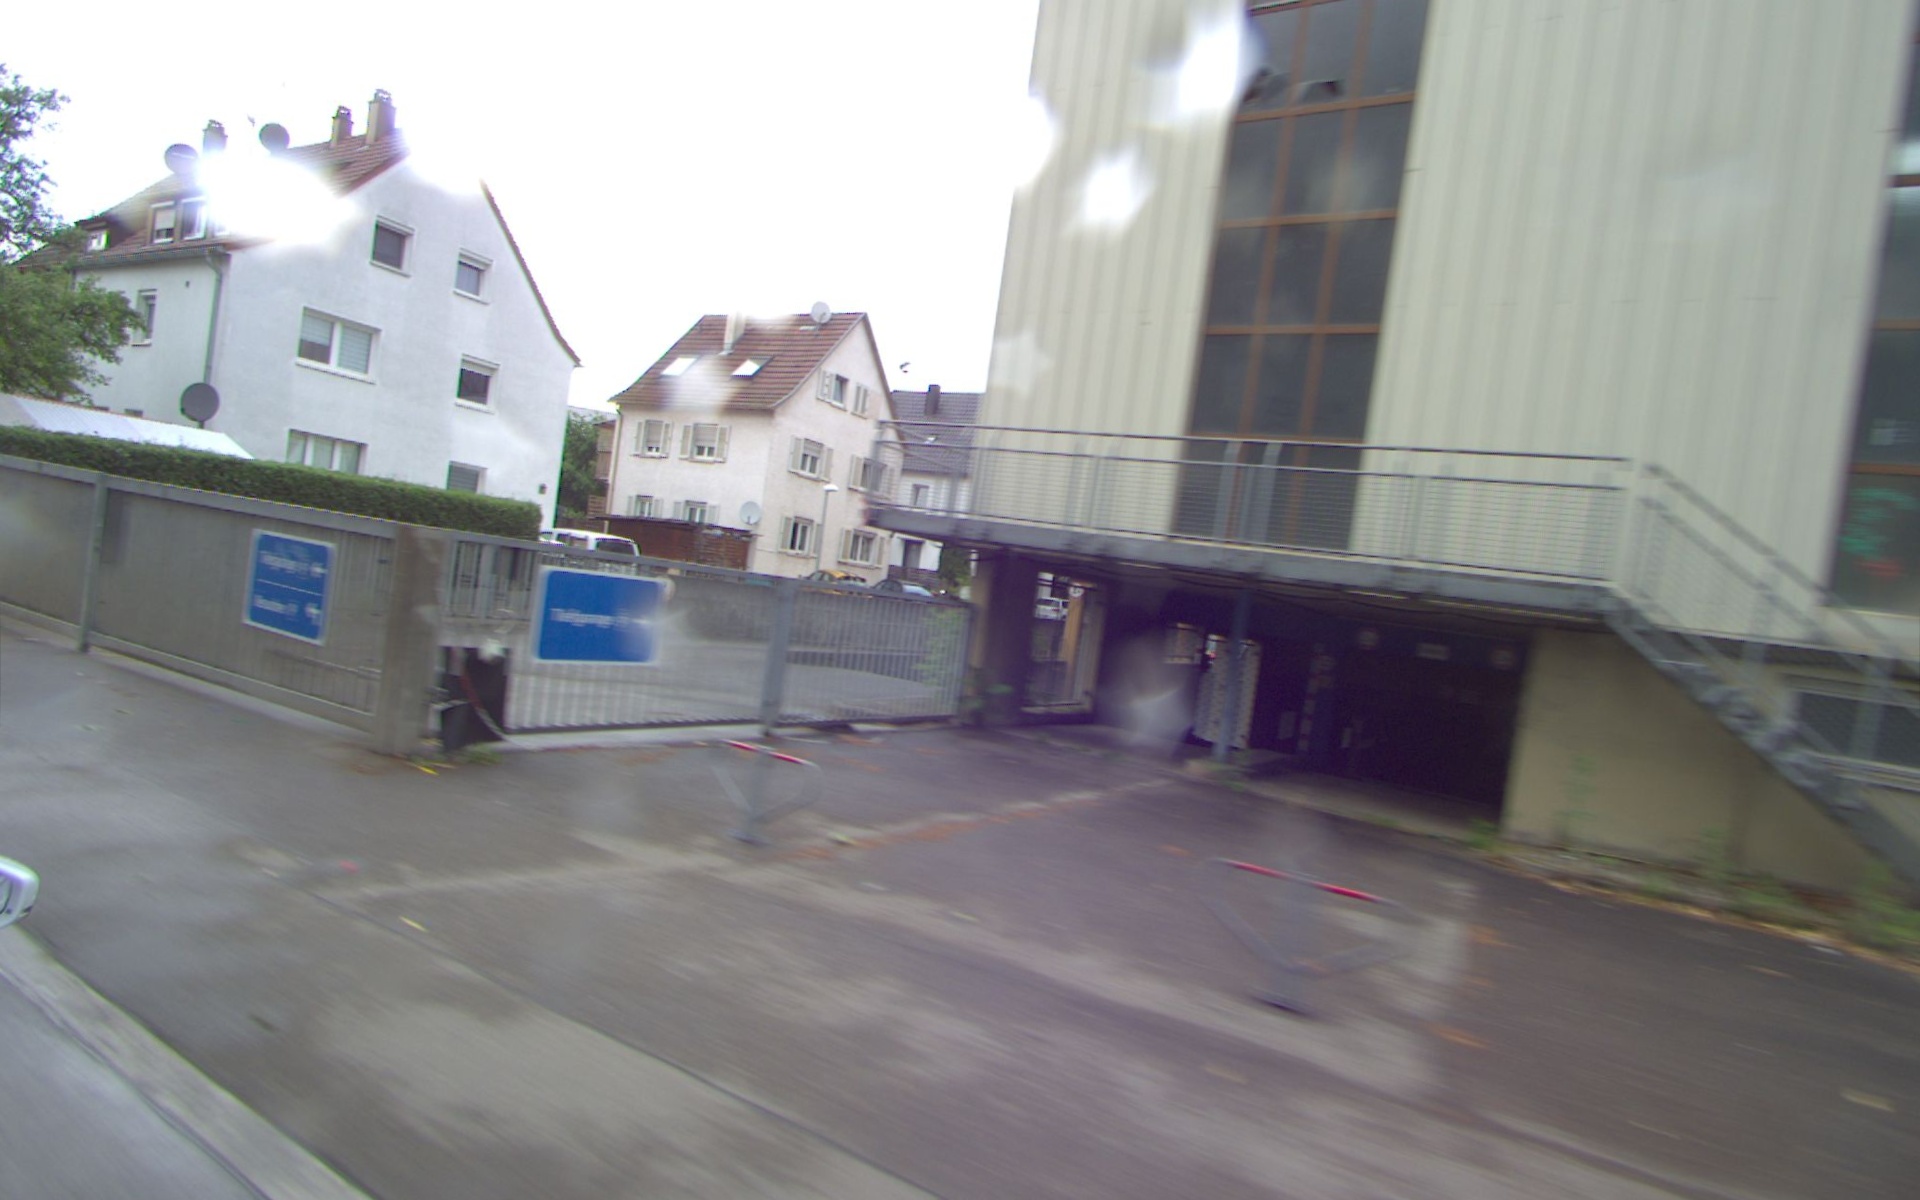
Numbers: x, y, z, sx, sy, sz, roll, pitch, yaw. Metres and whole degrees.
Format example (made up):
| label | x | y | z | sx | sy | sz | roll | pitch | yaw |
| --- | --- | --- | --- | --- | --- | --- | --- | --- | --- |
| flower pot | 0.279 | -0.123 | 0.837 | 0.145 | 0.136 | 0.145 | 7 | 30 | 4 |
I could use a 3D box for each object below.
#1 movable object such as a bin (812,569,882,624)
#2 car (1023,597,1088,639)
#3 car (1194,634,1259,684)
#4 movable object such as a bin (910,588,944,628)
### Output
| label | x | y | z | sx | sy | sz | roll | pitch | yaw |
| --- | --- | --- | --- | --- | --- | --- | --- | --- | --- |
| movable object such as a bin | -3.860 | -0.104 | 34.514 | 1.565 | 1.573 | 1.628 | 6 | -2 | 29 |
| car | 4.981 | 0.960 | 51.791 | 1.859 | 1.771 | 3.997 | 7 | -1 | 26 |
| car | 12.980 | 2.899 | 48.863 | 1.690 | 2.047 | 3.836 | 8 | 0 | 33 |
| movable object such as a bin | -1.198 | 0.296 | 36.698 | 0.610 | 1.323 | 1.061 | 7 | -2 | 29 |
